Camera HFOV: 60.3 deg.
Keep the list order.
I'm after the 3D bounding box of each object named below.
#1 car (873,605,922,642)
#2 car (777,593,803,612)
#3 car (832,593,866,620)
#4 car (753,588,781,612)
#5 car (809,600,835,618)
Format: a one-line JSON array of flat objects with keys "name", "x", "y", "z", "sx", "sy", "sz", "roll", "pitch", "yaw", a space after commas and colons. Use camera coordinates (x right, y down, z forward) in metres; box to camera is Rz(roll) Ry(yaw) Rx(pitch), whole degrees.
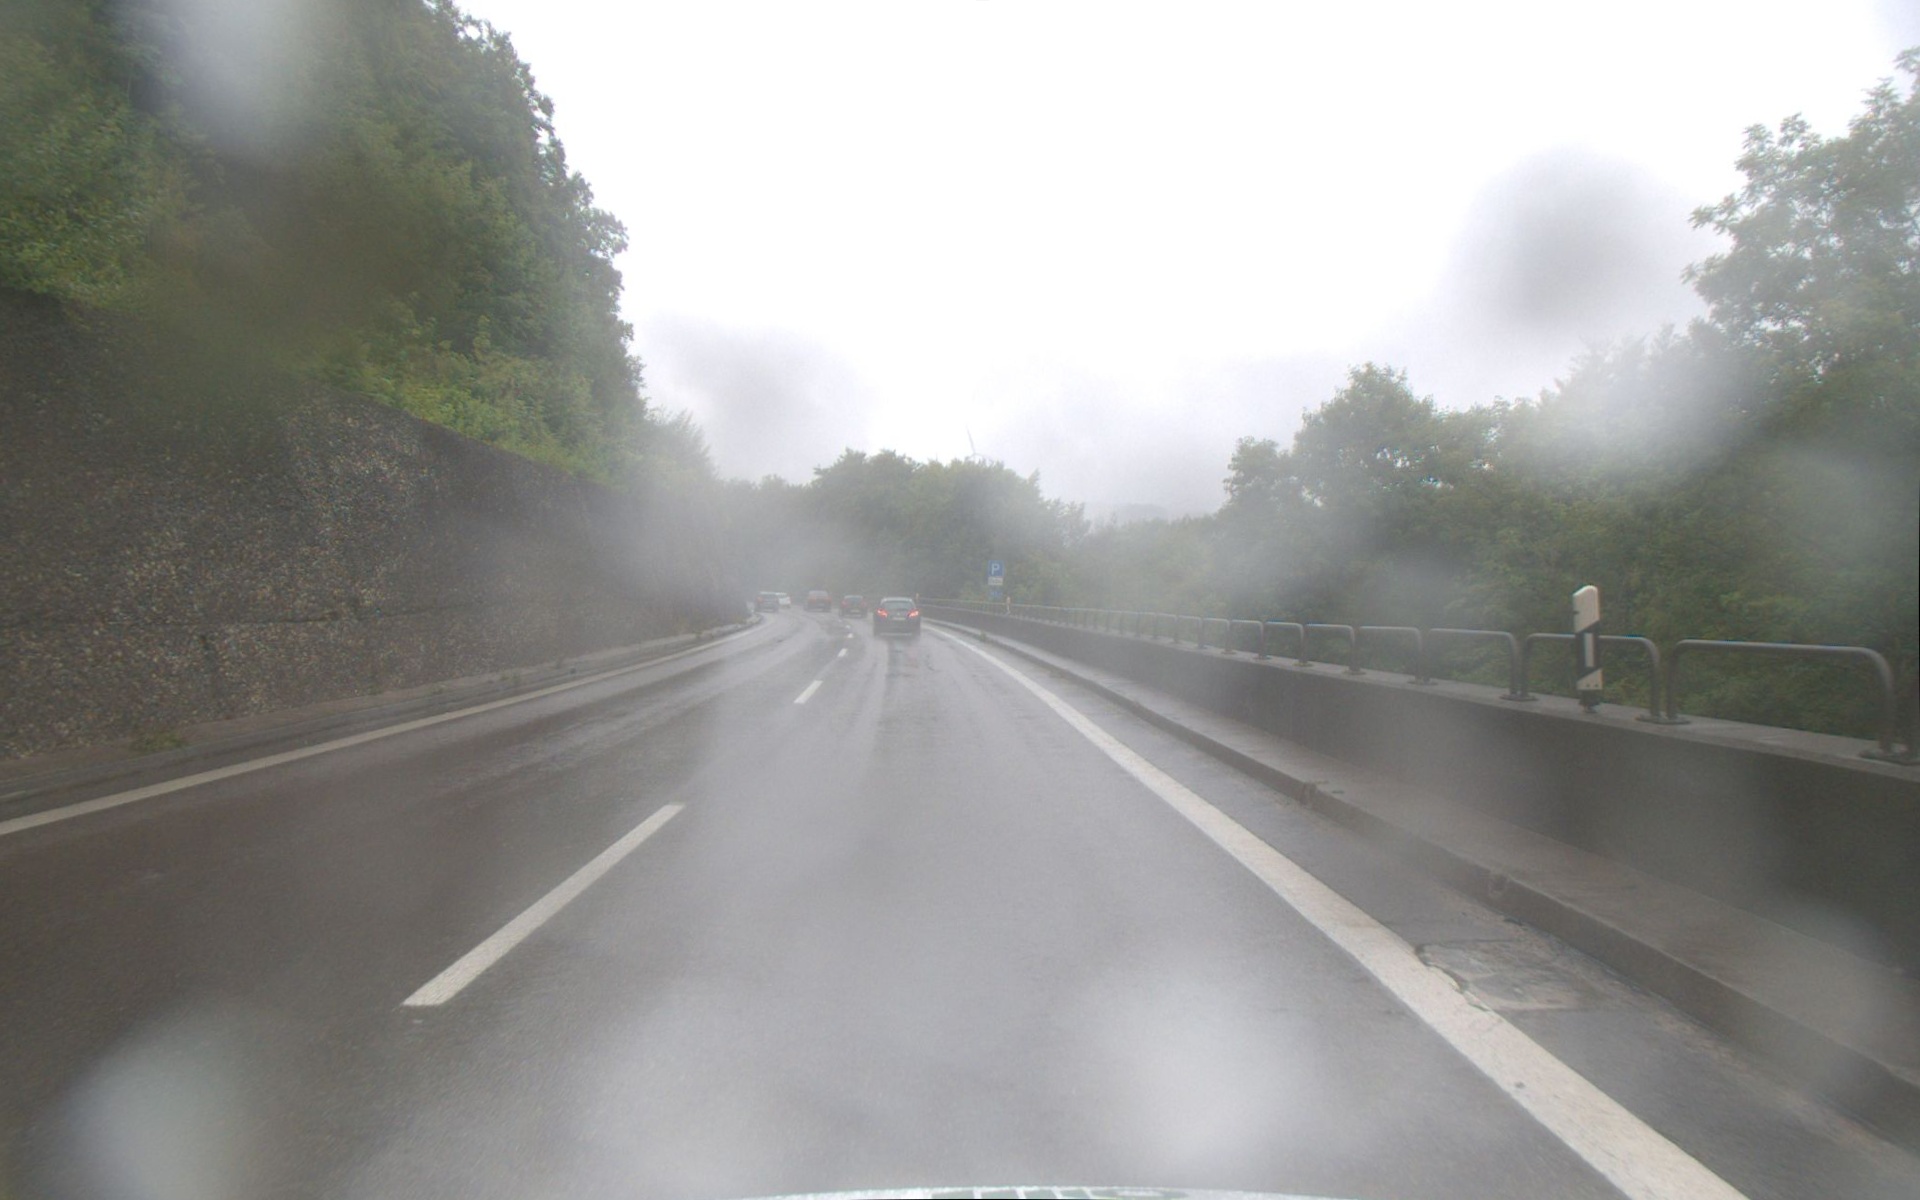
[{"name": "car", "x": -2.349, "y": 0.862, "z": 63.039, "sx": 1.764, "sy": 1.330, "sz": 3.999, "roll": 0, "pitch": 0, "yaw": -1}, {"name": "car", "x": -15.749, "y": 0.216, "z": 153.360, "sx": 1.959, "sy": 1.691, "sz": 3.987, "roll": 0, "pitch": 0, "yaw": -12}, {"name": "car", "x": -7.528, "y": 0.422, "z": 111.601, "sx": 1.957, "sy": 1.780, "sz": 3.991, "roll": 1, "pitch": -1, "yaw": -9}, {"name": "car", "x": -15.998, "y": 0.052, "z": 137.093, "sx": 1.958, "sy": 1.937, "sz": 3.989, "roll": 1, "pitch": -1, "yaw": -11}, {"name": "car", "x": -11.526, "y": 0.741, "z": 137.668, "sx": 1.768, "sy": 1.492, "sz": 3.989, "roll": 0, "pitch": 0, "yaw": -11}]
